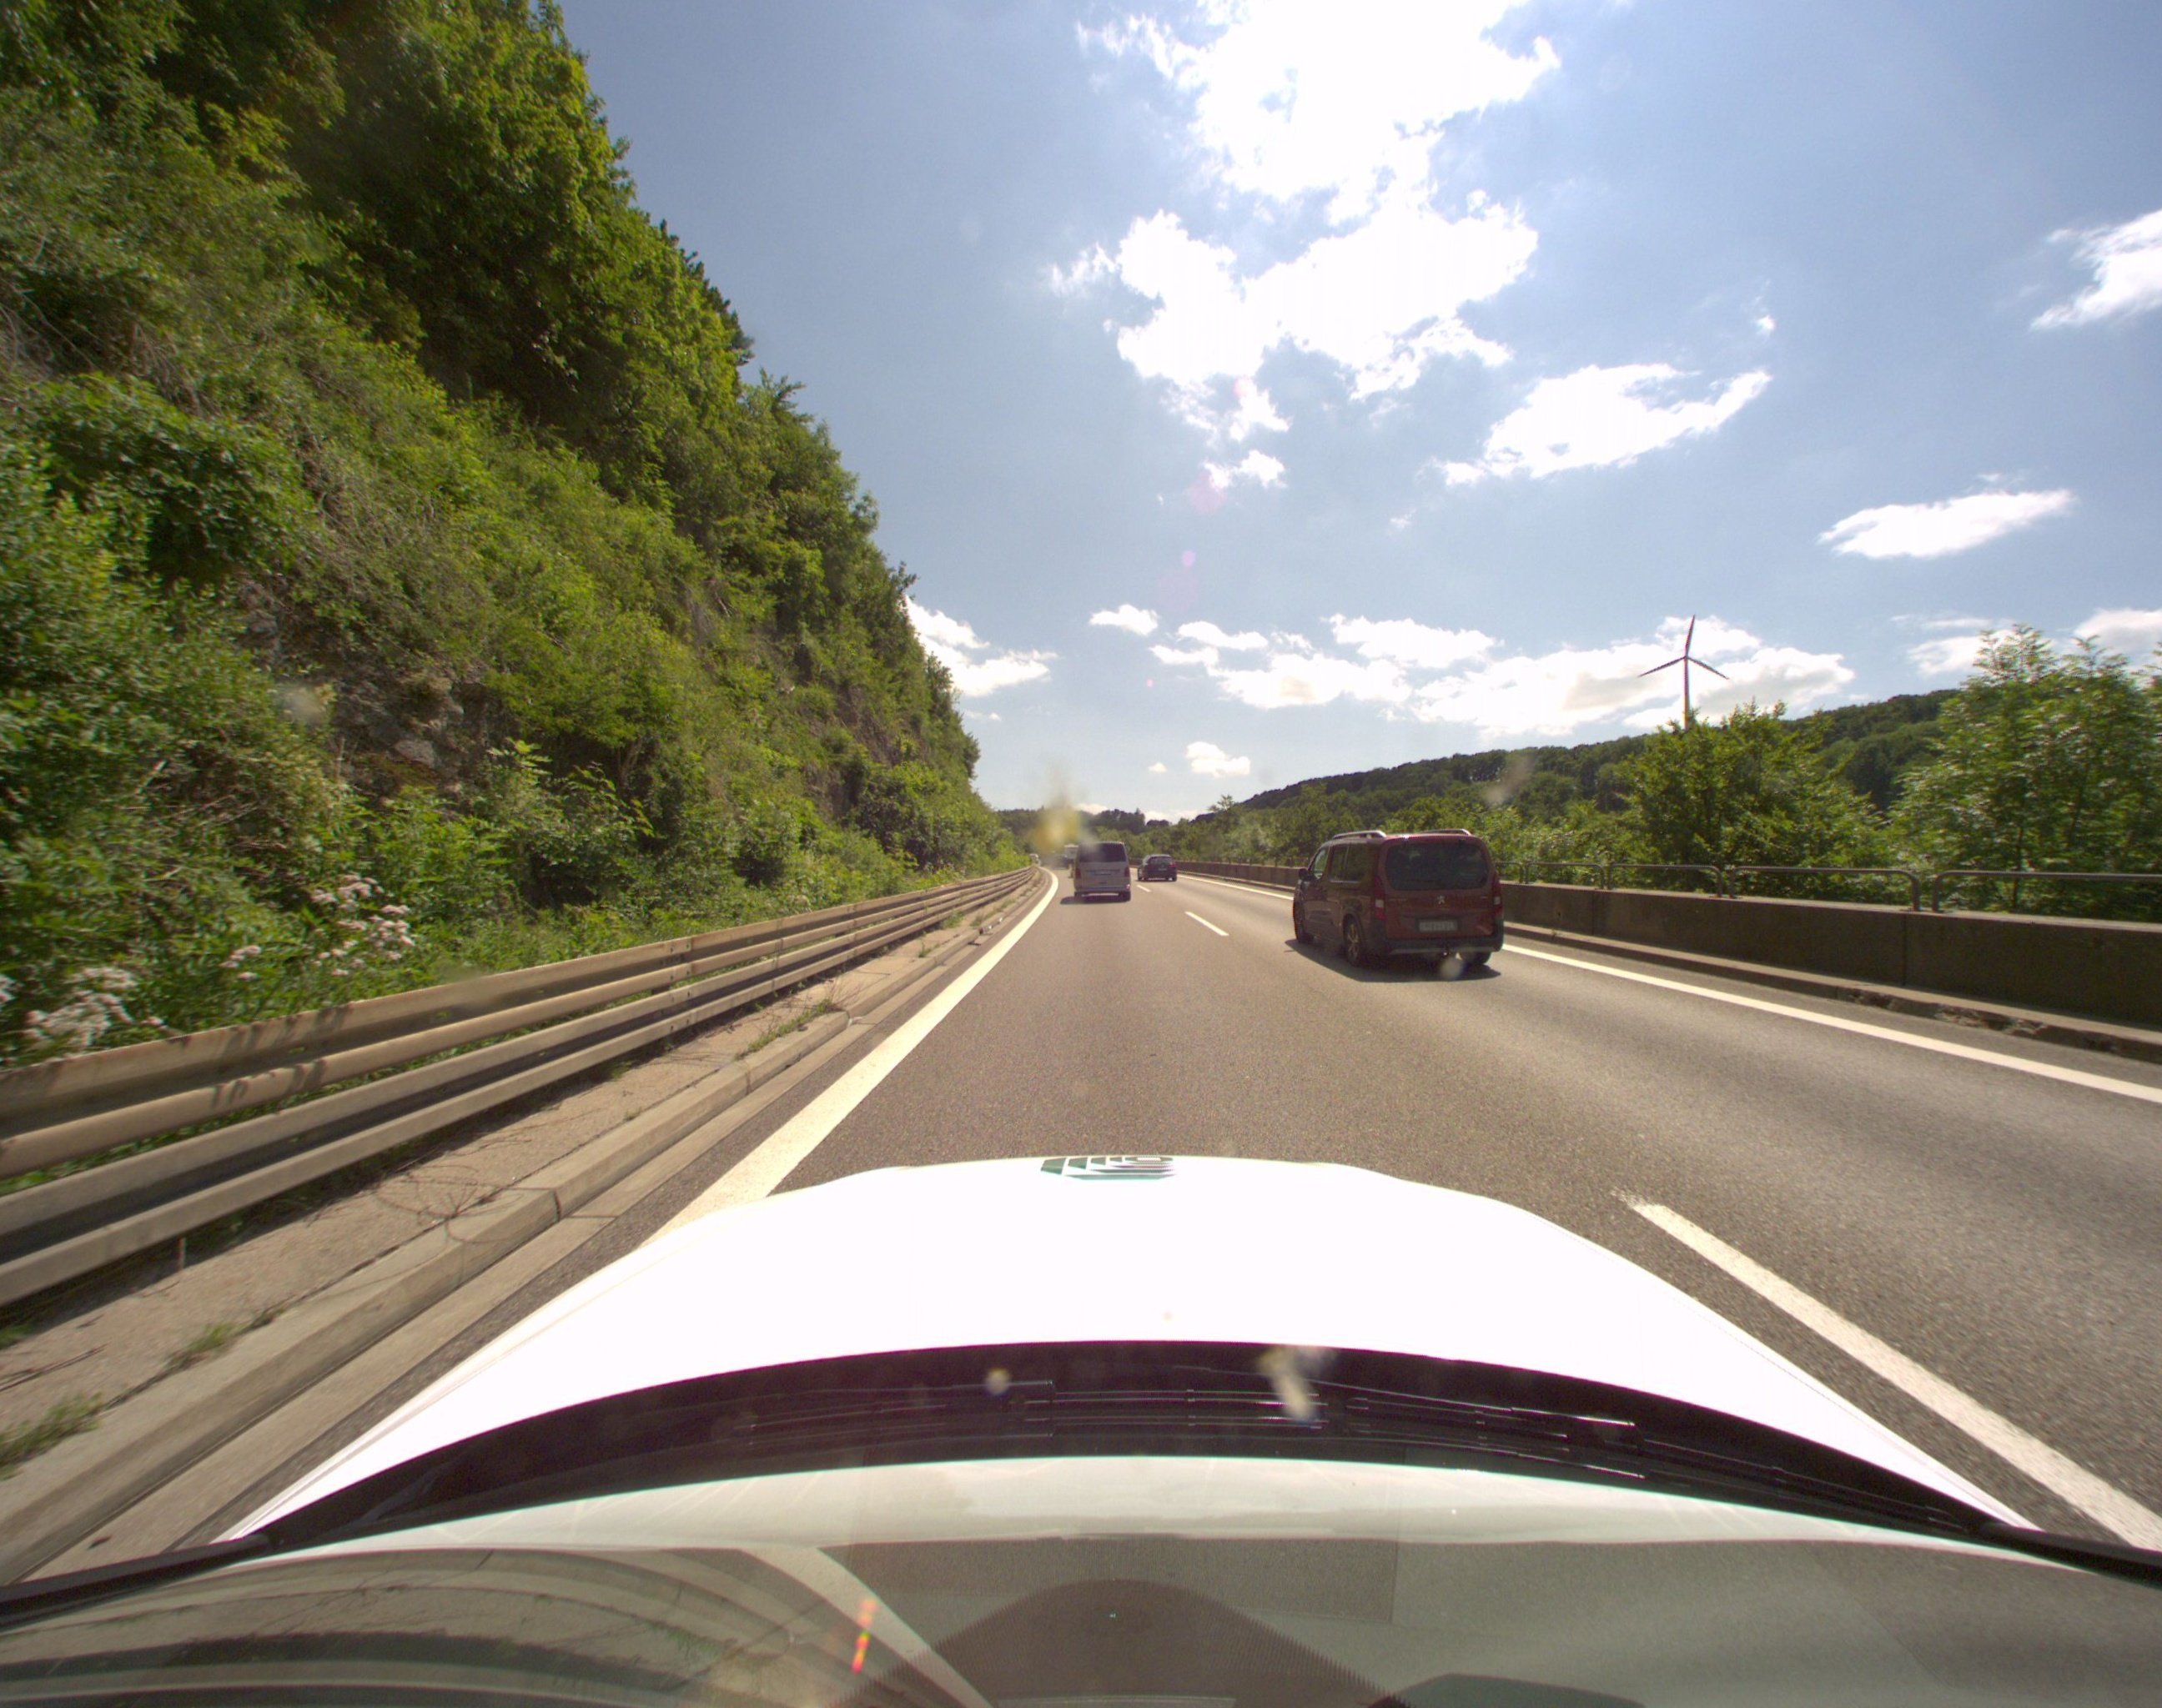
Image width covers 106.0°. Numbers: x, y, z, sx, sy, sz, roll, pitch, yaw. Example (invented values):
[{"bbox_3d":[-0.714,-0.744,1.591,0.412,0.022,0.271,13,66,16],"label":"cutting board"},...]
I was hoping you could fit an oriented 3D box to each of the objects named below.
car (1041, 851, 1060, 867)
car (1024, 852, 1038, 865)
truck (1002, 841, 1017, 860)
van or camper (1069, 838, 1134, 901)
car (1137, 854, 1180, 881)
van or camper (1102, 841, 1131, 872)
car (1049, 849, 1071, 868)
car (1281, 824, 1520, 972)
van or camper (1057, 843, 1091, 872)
[{"bbox_3d":[-3.634,0.548,96.706,1.990,1.817,3.993,-1,0,-5],"label":"car"},{"bbox_3d":[-7.390,0.692,120.796,1.990,1.915,3.993,-1,0,-5],"label":"car"},{"bbox_3d":[-17.606,-0.814,200.219,3.289,4.519,7.708,-2,-1,-8],"label":"truck"},{"bbox_3d":[0.621,0.512,28.026,1.871,1.949,4.289,-1,0,-3],"label":"van or camper"},{"bbox_3d":[4.227,0.708,44.808,1.765,1.375,3.588,-2,0,-4],"label":"car"},{"bbox_3d":[3.109,0.246,72.452,2.257,2.551,4.734,-2,0,-1],"label":"van or camper"},{"bbox_3d":[-2.091,0.452,80.267,1.990,1.817,3.993,-1,0,-5],"label":"car"},{"bbox_3d":[4.504,0.565,12.360,1.827,1.784,4.676,-1,-1,1],"label":"car"},{"bbox_3d":[-1.050,0.468,113.065,3.277,3.789,8.081,-1,0,-11],"label":"van or camper"}]
